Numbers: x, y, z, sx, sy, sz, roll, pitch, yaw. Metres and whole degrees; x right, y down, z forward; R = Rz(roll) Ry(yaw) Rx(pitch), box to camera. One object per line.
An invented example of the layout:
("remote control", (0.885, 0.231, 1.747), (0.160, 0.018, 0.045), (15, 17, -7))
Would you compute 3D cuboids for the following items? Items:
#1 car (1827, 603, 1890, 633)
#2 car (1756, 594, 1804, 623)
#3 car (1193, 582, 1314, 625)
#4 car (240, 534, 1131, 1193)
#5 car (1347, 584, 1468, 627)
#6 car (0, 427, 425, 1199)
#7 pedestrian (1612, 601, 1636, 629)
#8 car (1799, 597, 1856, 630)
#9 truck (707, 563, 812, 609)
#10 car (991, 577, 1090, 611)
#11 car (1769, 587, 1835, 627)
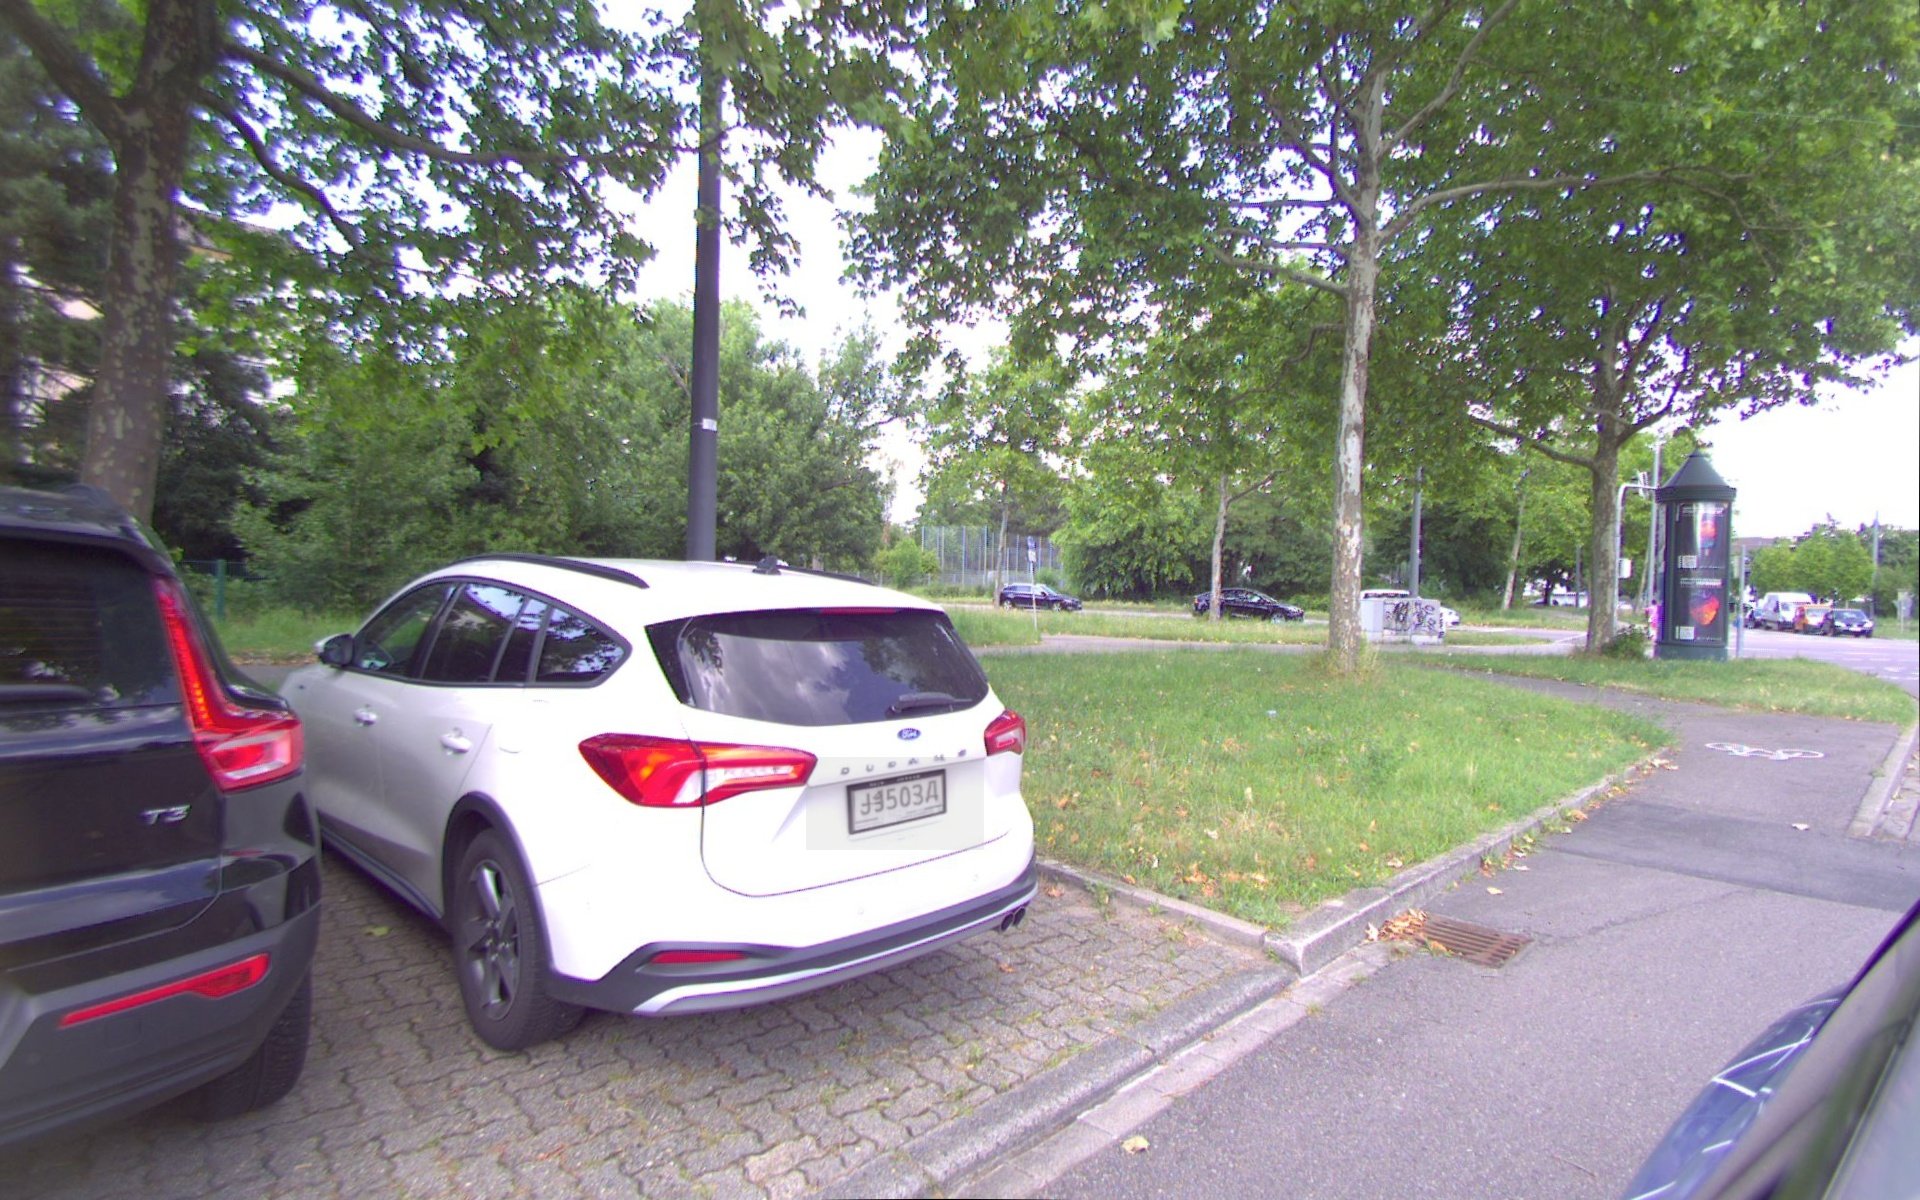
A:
("car", (50.339, 0.954, 56.765), (1.781, 1.558, 3.959), (1, 1, 29))
("car", (58.939, 0.591, 72.806), (1.780, 1.959, 4.326), (1, 1, 28))
("car", (12.499, 0.114, 43.105), (4.645, 1.630, 1.980), (2, 2, 29))
("car", (-1.694, 0.502, 4.609), (4.661, 1.492, 1.818), (4, 2, 45))
("car", (19.285, 0.194, 43.665), (4.644, 1.630, 1.981), (2, 2, 28))
("car", (-3.422, 0.423, 3.119), (4.661, 1.646, 1.818), (4, 2, 45))
("pedestrian", (26.086, 0.590, 39.788), (0.717, 1.047, 0.891), (2, 1, 31))
("car", (53.170, 0.792, 62.103), (1.780, 1.959, 4.325), (1, 1, 29))
("truck", (-12.285, -0.889, 61.828), (6.452, 2.628, 2.194), (2, 1, 29))
("car", (4.117, -0.339, 51.881), (4.644, 1.532, 1.981), (2, 2, 28))
("car", (56.303, 0.443, 67.777), (2.219, 2.538, 5.670), (1, 1, 28))
